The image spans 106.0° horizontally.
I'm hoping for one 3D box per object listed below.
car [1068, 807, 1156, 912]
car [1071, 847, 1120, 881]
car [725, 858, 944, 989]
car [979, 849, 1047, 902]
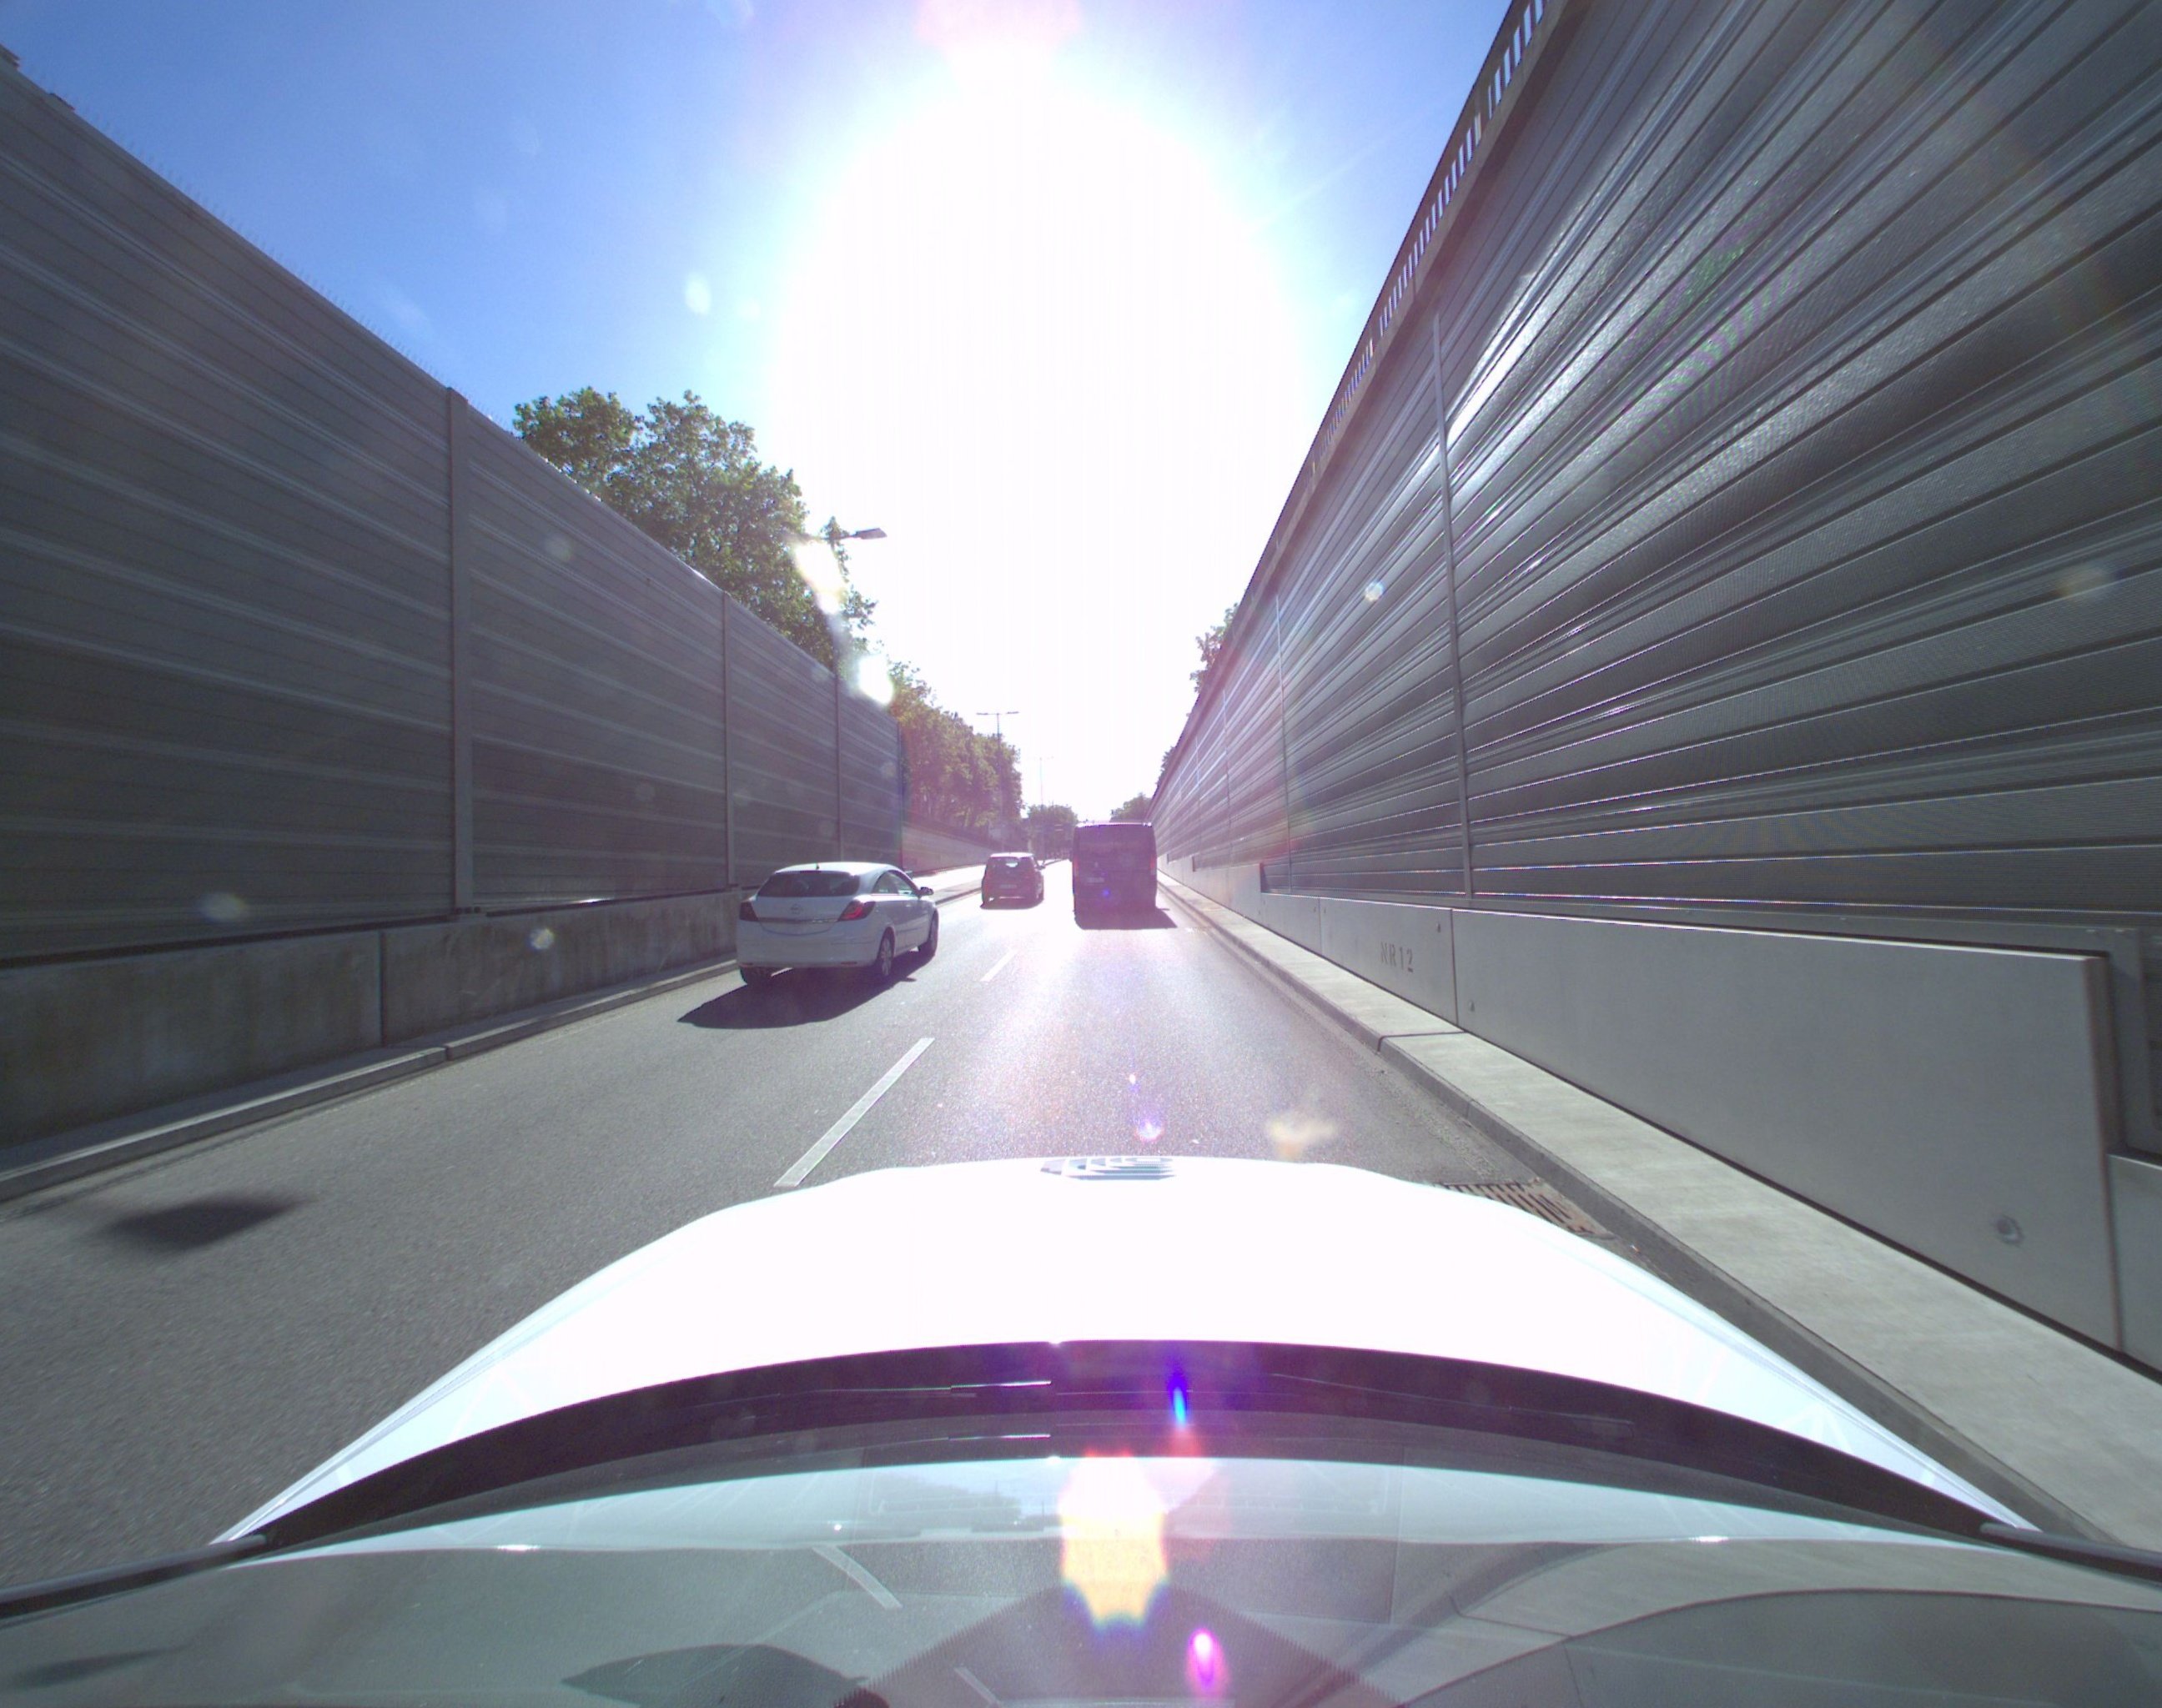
[{"bbox_3d":[0.802,0.133,21.077,2.022,2.402,3.975,-1,0,2],"label":"car"},{"bbox_3d":[0.714,0.433,37.443,1.882,1.475,3.998,-1,0,6],"label":"car"},{"bbox_3d":[-3.025,0.777,10.844,1.613,1.403,3.854,-1,0,2],"label":"car"},{"bbox_3d":[-2.014,0.604,24.829,1.682,1.483,3.320,-1,1,2],"label":"car"}]
